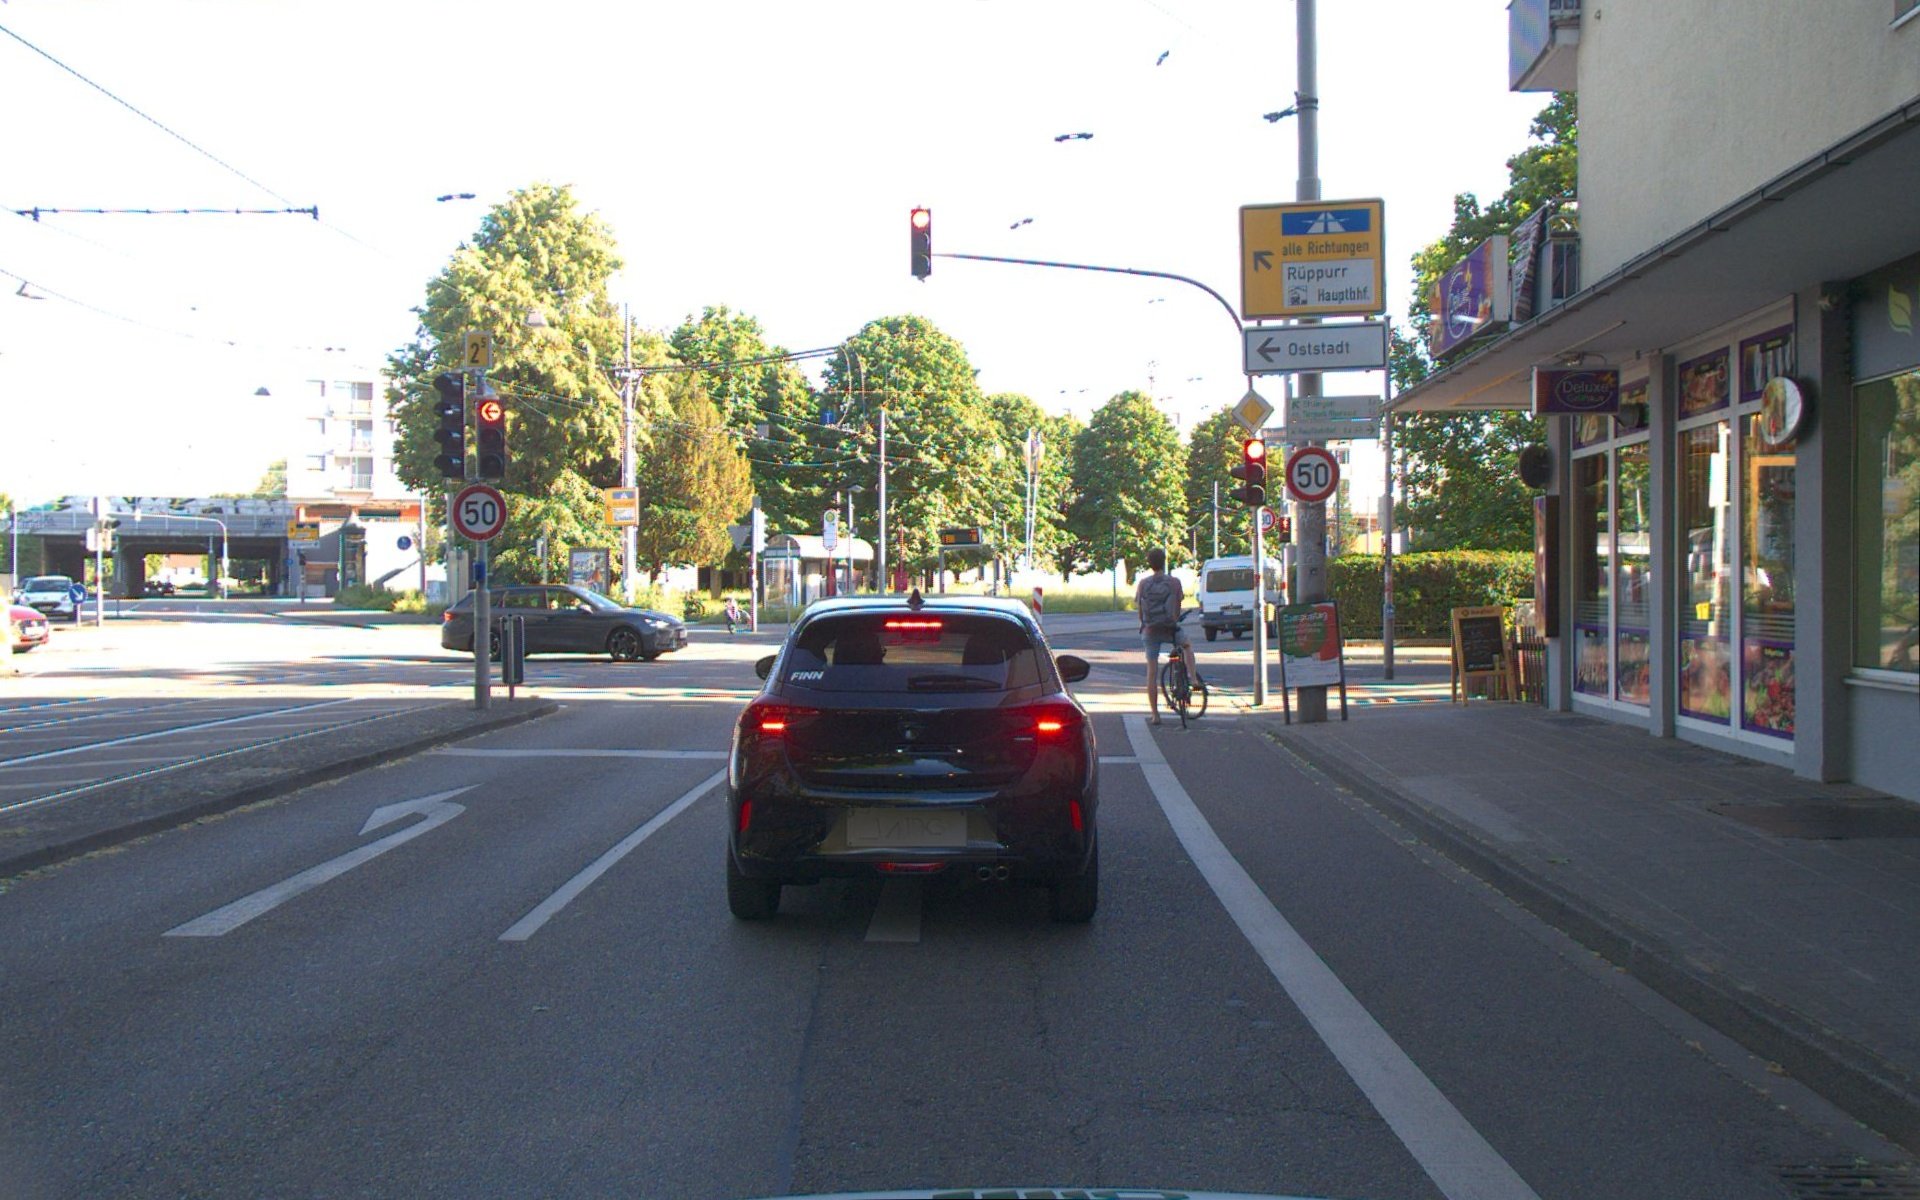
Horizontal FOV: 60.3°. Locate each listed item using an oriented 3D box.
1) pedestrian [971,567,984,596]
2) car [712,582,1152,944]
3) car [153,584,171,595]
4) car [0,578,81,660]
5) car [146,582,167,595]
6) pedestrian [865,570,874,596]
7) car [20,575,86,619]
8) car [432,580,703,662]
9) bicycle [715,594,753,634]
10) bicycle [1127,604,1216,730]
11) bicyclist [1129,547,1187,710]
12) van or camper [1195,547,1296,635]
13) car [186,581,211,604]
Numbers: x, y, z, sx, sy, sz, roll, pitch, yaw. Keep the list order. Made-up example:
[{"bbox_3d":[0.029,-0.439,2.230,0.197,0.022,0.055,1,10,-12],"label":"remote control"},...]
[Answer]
[{"bbox_3d":[1.130,-1.189,107.007,0.596,1.904,0.515,1,-1,-28],"label":"pedestrian"},{"bbox_3d":[-0.143,0.650,8.801,1.803,1.487,3.983,0,1,-1],"label":"car"},{"bbox_3d":[-89.221,-1.182,184.851,1.562,1.282,3.394,-1,1,-30],"label":"car"},{"bbox_3d":[-20.339,0.351,33.172,4.382,1.592,2.024,0,1,4],"label":"car"},{"bbox_3d":[-77.206,-1.096,158.951,1.562,1.282,3.394,-1,1,-30],"label":"car"},{"bbox_3d":[-6.630,-1.266,121.263,0.592,1.904,0.519,1,-1,-7],"label":"pedestrian"},{"bbox_3d":[-34.864,-0.118,63.683,1.860,1.613,3.809,1,0,-24],"label":"car"},{"bbox_3d":[-7.399,0.378,31.440,4.626,1.499,1.941,0,1,4],"label":"car"},{"bbox_3d":[-6.301,0.378,46.161,0.780,1.083,2.184,0,1,-1],"label":"bicycle"},{"bbox_3d":[2.320,0.691,17.935,0.737,1.256,2.017,0,1,14],"label":"bicycle"},{"bbox_3d":[2.135,0.295,17.822,0.522,1.722,0.568,0,0,16],"label":"bicyclist"},{"bbox_3d":[8.067,-0.227,46.414,1.987,2.351,4.540,1,0,20],"label":"van or camper"},{"bbox_3d":[-59.250,-0.570,128.775,1.732,1.713,3.712,1,0,-25],"label":"car"}]
